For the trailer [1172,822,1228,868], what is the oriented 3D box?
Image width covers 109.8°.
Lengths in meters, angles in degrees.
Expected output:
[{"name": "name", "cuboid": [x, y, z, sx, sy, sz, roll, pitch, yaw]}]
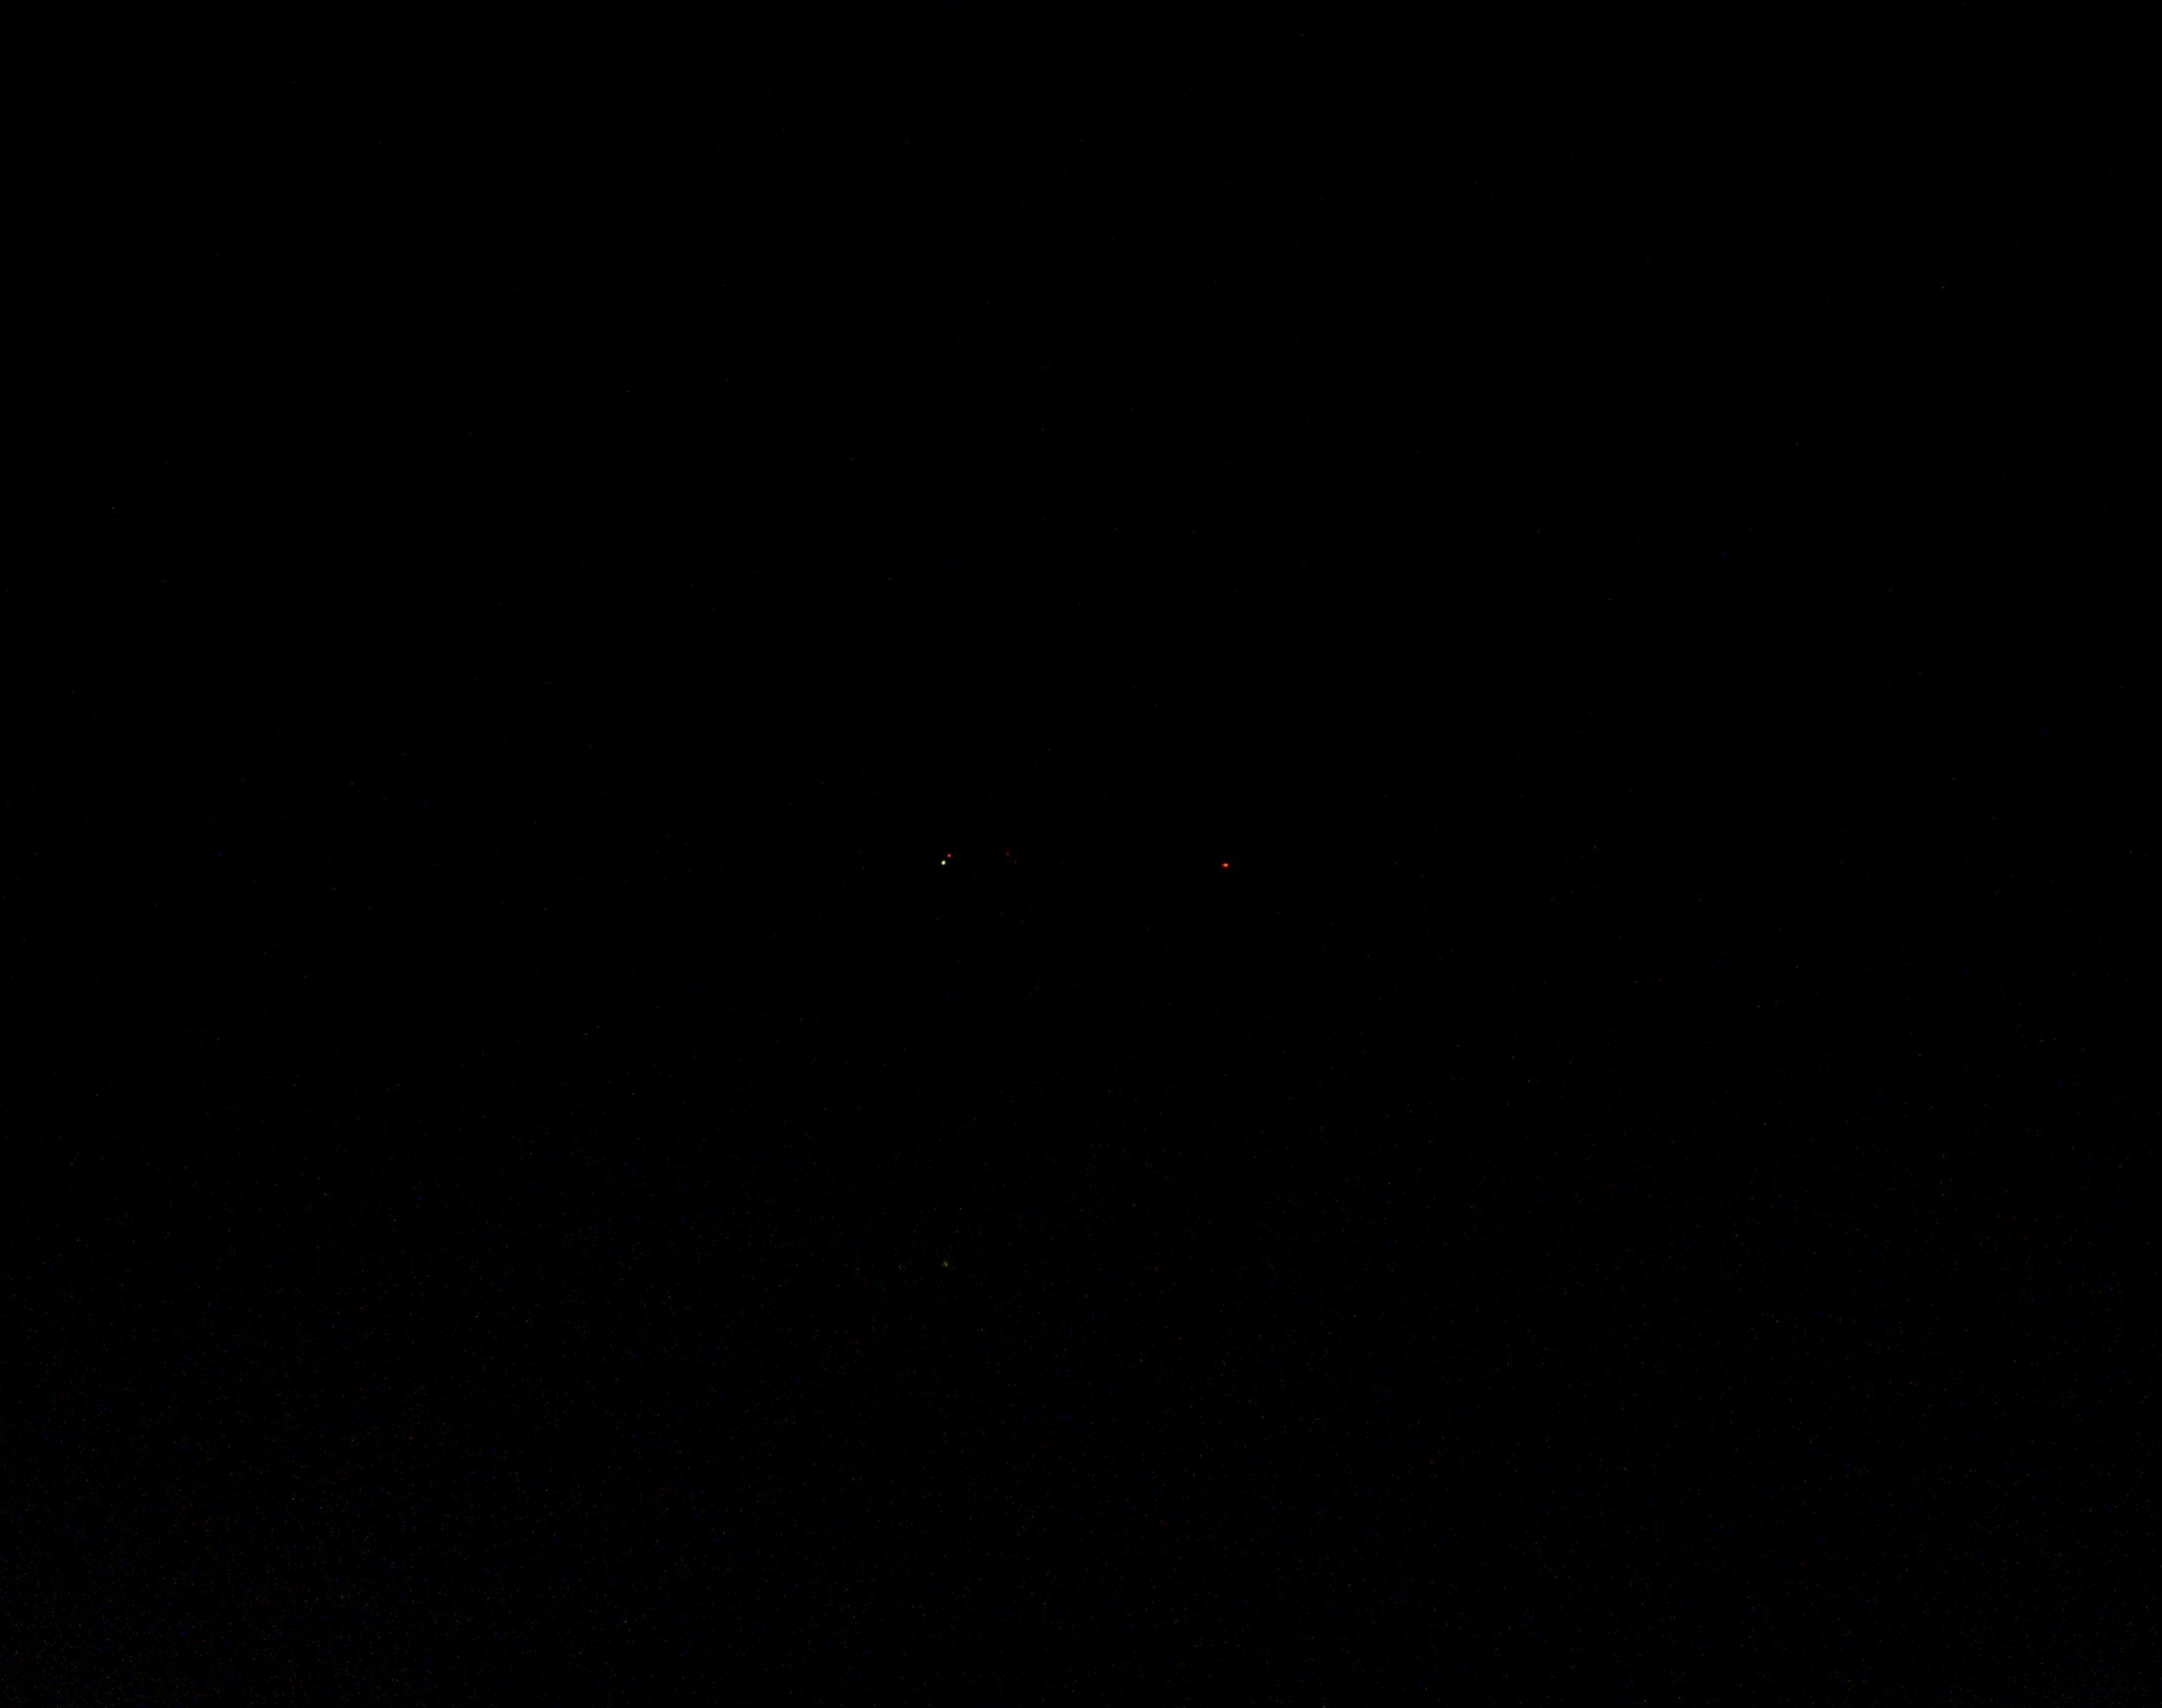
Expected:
[{"name": "trailer", "cuboid": [10.953, -0.782, 71.076, 2.726, 3.933, 9.041, -1, 0, -7]}]

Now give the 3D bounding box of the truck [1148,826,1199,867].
[{"name": "truck", "cuboid": [9.635, -0.755, 80.820, 2.689, 4.021, 10.646, -1, 0, -8]}]
